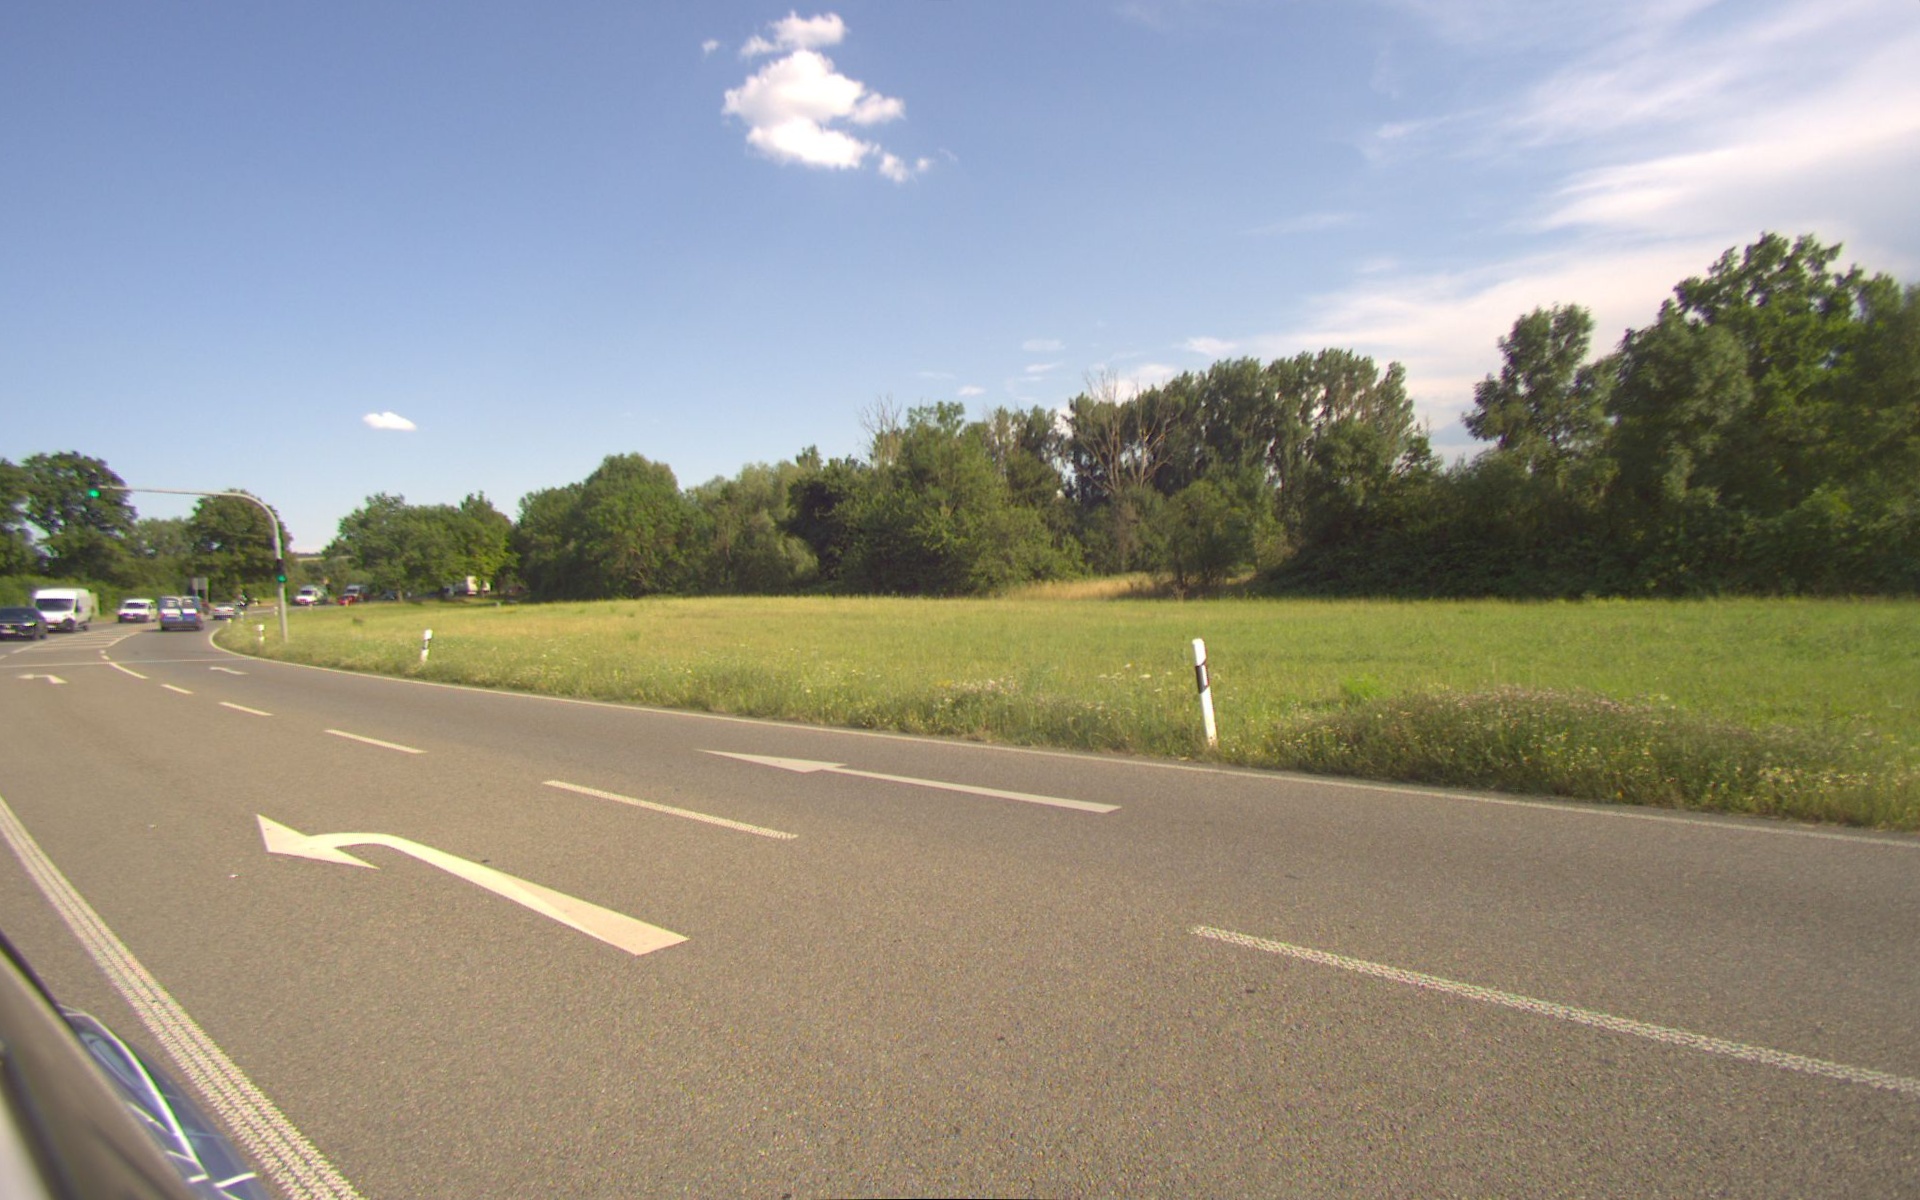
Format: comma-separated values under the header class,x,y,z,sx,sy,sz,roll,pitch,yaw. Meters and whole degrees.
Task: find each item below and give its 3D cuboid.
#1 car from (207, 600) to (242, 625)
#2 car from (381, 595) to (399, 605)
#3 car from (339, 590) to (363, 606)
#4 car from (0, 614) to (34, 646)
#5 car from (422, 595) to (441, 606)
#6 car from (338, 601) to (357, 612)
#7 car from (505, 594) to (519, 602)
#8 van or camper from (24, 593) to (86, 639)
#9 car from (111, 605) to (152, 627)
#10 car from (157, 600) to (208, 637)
class,x,y,z,sx,sy,sz,roll,pitch,yaw
car,-62.618,1.047,86.233,1.756,2.028,3.858,-3,1,-27
car,-97.466,-0.009,173.005,1.631,1.616,3.880,-3,1,-15
car,-94.936,-0.342,157.801,1.966,2.405,4.951,-3,1,-16
car,-45.597,1.403,48.355,1.582,1.490,3.624,2,-2,-37
car,-93.563,0.095,179.220,1.703,1.897,4.342,0,-1,-7
car,-86.444,0.874,142.846,1.563,1.478,3.618,0,-1,-19
car,-95.640,-0.419,215.930,1.615,1.707,3.621,0,0,-4
van or camper,-52.771,0.889,59.088,2.002,2.494,5.090,-3,1,-35
car,-63.403,1.199,77.502,1.646,1.490,3.506,-3,1,-26
car,-47.940,1.100,62.484,1.971,2.153,4.793,-1,0,-31
